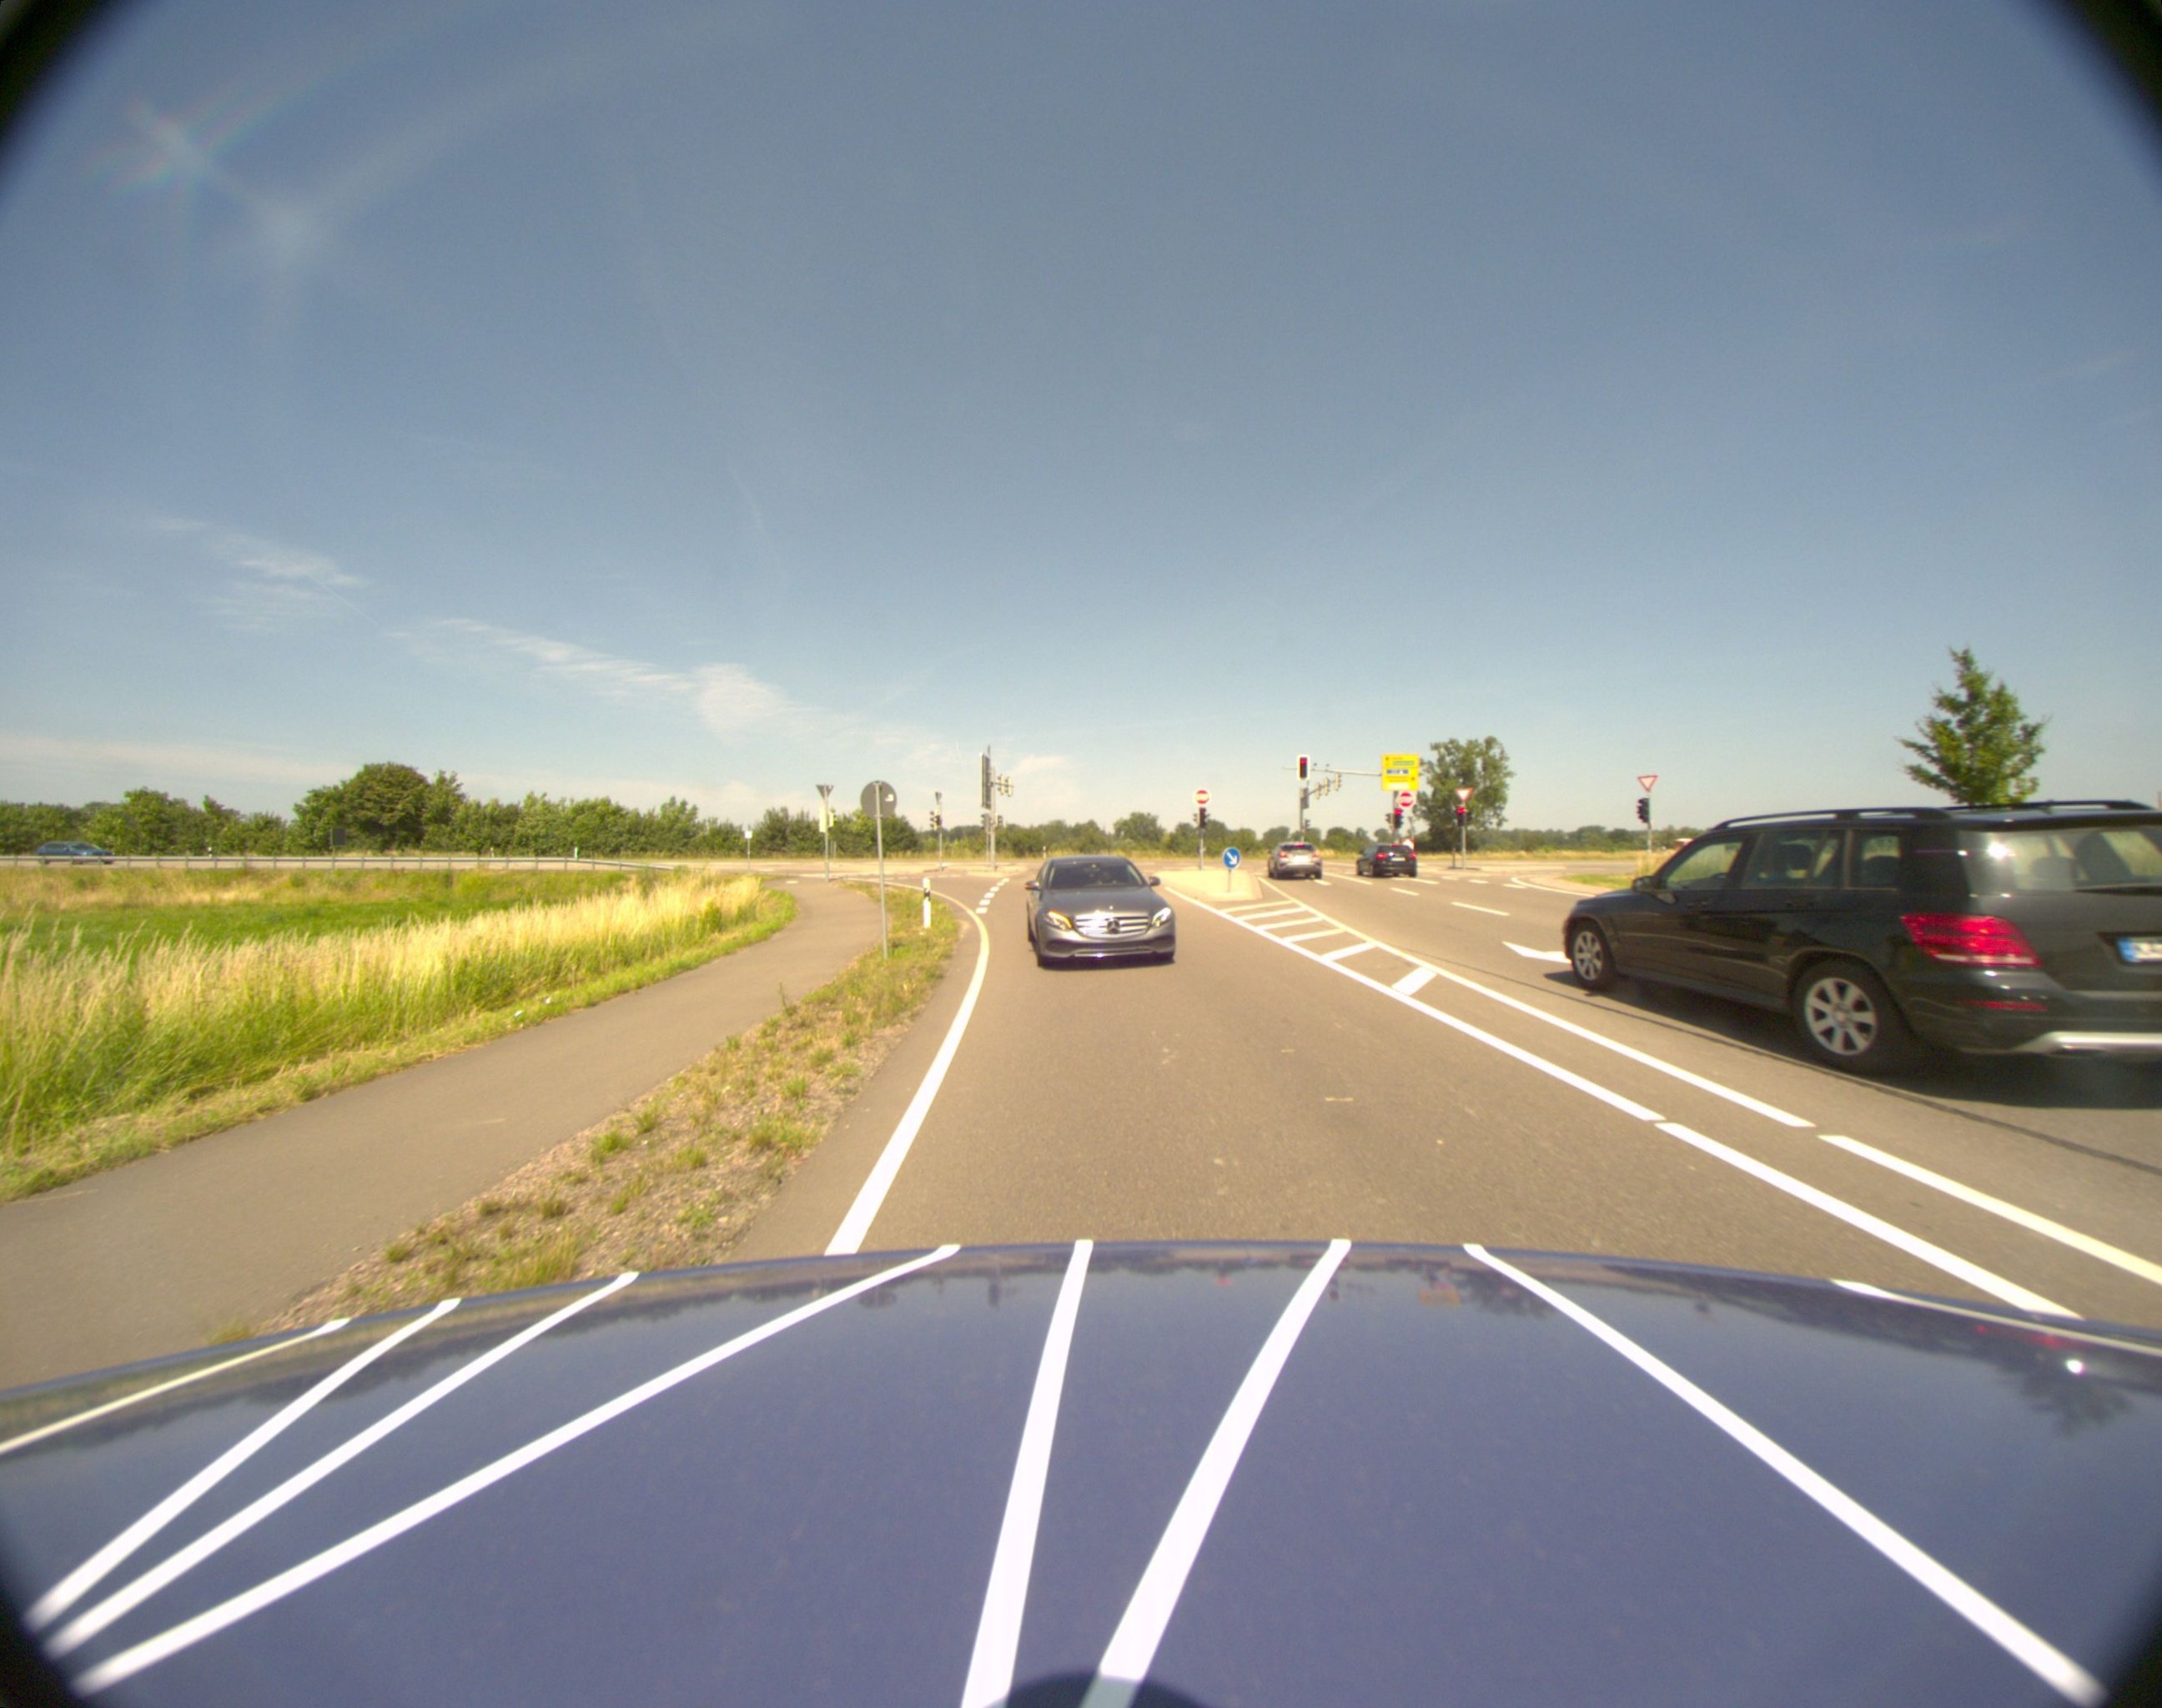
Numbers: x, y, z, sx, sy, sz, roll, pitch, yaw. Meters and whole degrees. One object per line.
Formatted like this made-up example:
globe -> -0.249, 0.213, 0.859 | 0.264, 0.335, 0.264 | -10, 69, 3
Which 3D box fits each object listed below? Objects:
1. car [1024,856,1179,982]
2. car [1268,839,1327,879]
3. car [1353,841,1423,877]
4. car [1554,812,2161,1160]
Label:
car -> 0.129, 0.813, 11.737 | 1.894, 1.439, 4.523 | -2, 1, -3
car -> 8.928, 0.196, 31.684 | 1.869, 1.535, 4.554 | -1, 0, 10
car -> 12.753, 0.201, 31.834 | 1.773, 1.360, 4.277 | -1, 0, 9
car -> 5.672, 0.613, 5.691 | 1.869, 1.640, 4.329 | -1, 0, 5
